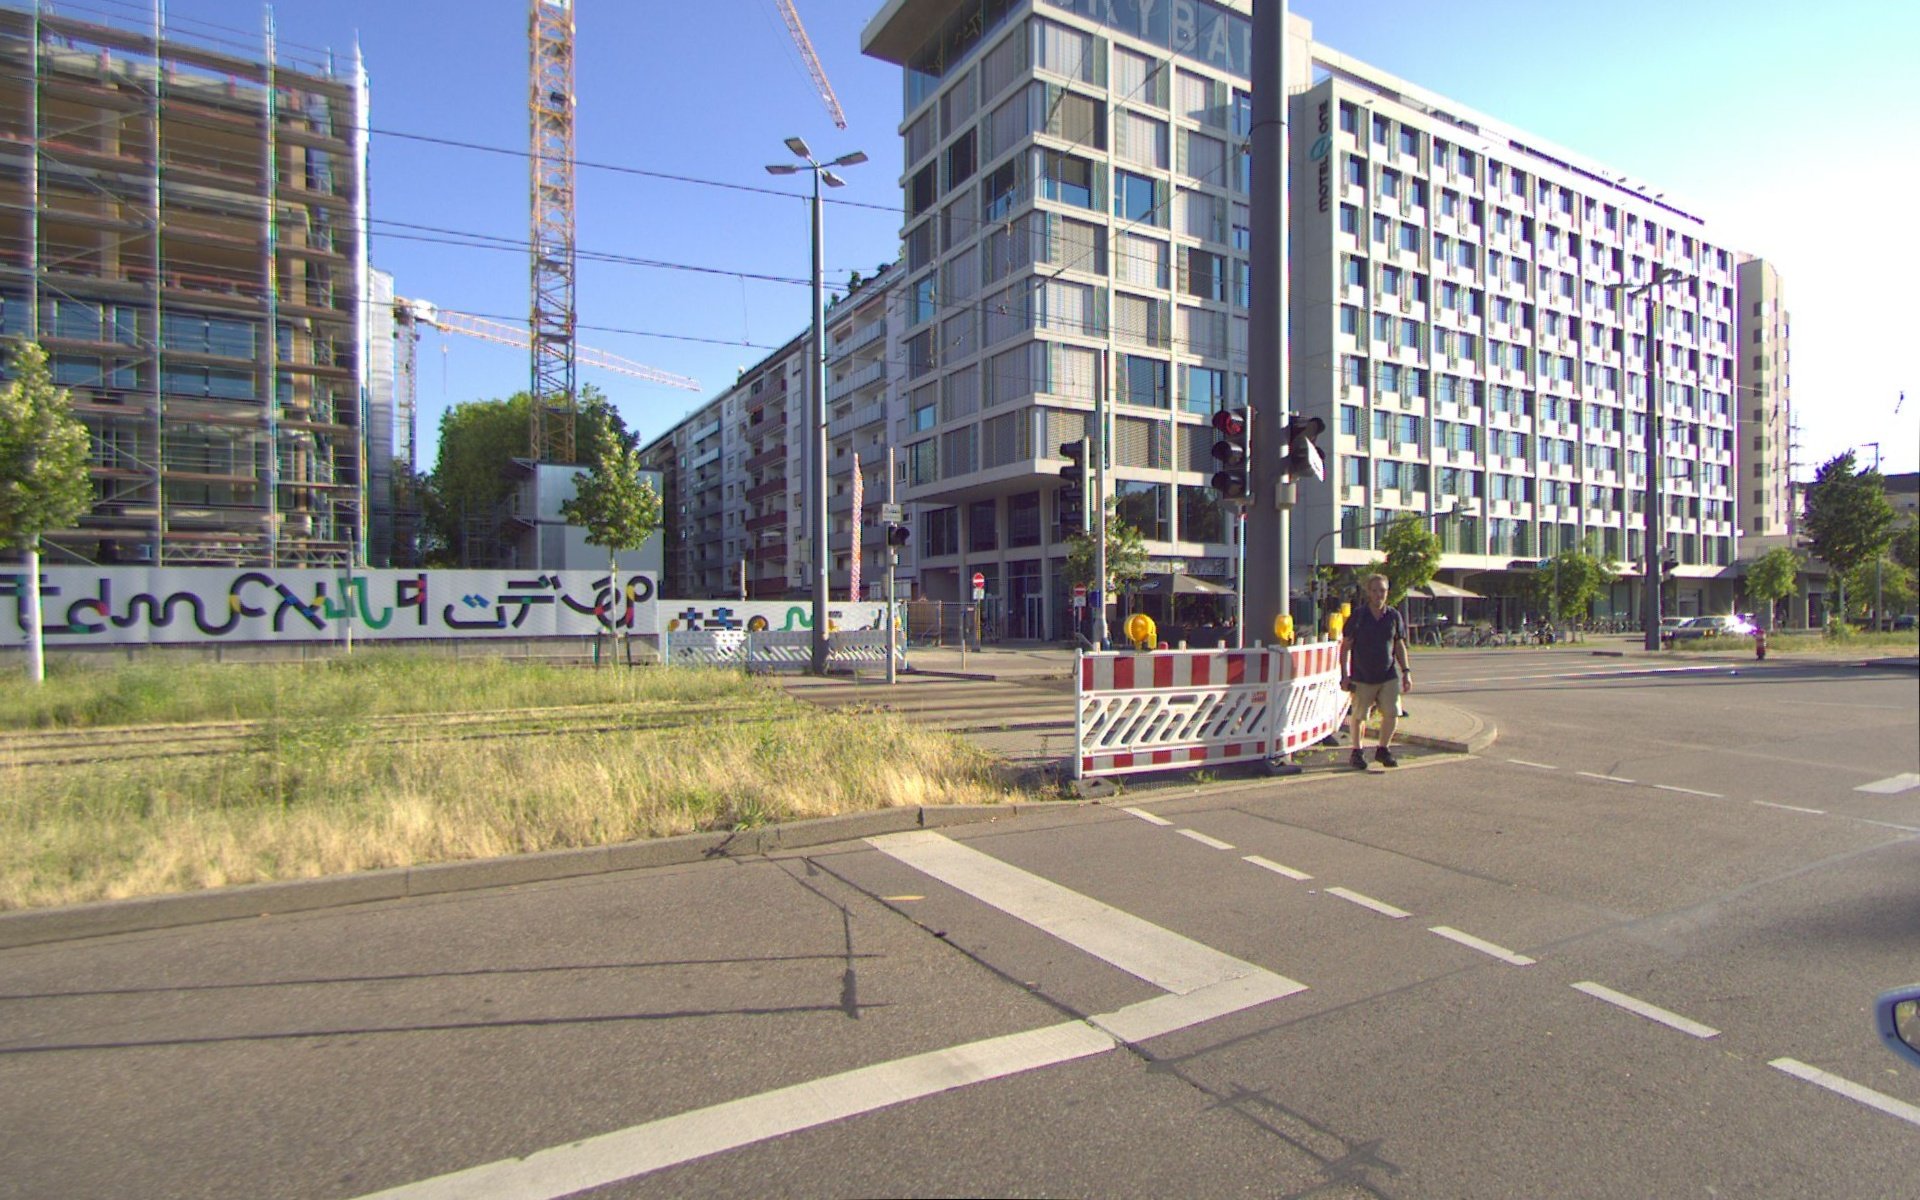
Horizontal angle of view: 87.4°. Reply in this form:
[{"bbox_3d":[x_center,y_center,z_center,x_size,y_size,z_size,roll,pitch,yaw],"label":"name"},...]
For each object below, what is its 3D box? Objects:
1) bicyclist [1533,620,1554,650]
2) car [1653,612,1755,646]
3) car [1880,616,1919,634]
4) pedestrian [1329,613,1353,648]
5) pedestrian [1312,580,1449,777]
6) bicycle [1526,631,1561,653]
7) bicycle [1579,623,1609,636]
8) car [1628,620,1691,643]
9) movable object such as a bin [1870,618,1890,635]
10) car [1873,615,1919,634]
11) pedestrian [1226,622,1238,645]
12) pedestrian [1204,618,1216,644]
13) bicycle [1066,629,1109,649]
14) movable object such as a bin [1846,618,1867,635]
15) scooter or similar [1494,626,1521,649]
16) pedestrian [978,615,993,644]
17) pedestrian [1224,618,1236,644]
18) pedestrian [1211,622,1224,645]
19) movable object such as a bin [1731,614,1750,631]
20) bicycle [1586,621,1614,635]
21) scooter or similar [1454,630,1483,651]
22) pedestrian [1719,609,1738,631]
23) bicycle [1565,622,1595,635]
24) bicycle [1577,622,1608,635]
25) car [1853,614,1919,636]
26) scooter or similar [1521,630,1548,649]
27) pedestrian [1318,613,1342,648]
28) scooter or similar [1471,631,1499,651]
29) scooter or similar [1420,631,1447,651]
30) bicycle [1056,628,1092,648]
[{"bbox_3d":[29.839,1.777,51.364,0.841,1.484,0.622,0,-1,-30],"label":"bicyclist"},{"bbox_3d":[31.866,1.220,43.011,4.796,1.361,1.881,0,-1,-32],"label":"car"},{"bbox_3d":[82.742,2.198,87.167,3.919,1.472,1.788,1,0,11],"label":"car"},{"bbox_3d":[19.723,1.572,52.025,0.792,1.744,0.868,0,-1,-21],"label":"pedestrian"},{"bbox_3d":[3.761,0.676,9.050,0.752,1.671,0.925,0,-1,-11],"label":"pedestrian"},{"bbox_3d":[29.820,2.131,51.360,2.053,1.081,0.622,0,-1,-31],"label":"bicycle"},{"bbox_3d":[45.605,2.145,72.275,0.507,0.917,1.791,0,-1,-36],"label":"bicycle"},{"bbox_3d":[43.640,1.934,62.647,3.954,1.346,1.748,0,0,-31],"label":"car"},{"bbox_3d":[73.456,2.122,80.197,0.924,1.297,0.858,0,-1,-16],"label":"movable object such as a bin"},{"bbox_3d":[80.427,2.112,85.535,3.554,1.543,1.621,1,1,19],"label":"car"},{"bbox_3d":[14.702,1.810,54.292,0.491,1.238,0.429,0,-1,-30],"label":"pedestrian"},{"bbox_3d":[11.934,1.465,47.944,0.428,1.210,0.361,0,-1,-34],"label":"pedestrian"},{"bbox_3d":[6.223,1.899,49.083,2.191,0.948,0.615,0,-1,-32],"label":"bicycle"},{"bbox_3d":[72.495,2.109,81.228,0.924,1.376,0.858,0,-1,-16],"label":"movable object such as a bin"},{"bbox_3d":[29.176,1.992,53.565,0.401,1.187,1.238,0,-1,-29],"label":"scooter or similar"},{"bbox_3d":[1.353,1.583,54.064,0.570,1.518,0.583,0,-1,-32],"label":"pedestrian"},{"bbox_3d":[12.884,1.474,48.016,0.428,1.210,0.361,0,-1,-34],"label":"pedestrian"},{"bbox_3d":[13.796,1.803,53.797,0.491,1.238,0.429,0,-1,-30],"label":"pedestrian"},{"bbox_3d":[65.536,1.885,84.315,1.386,1.459,0.796,0,-1,-31],"label":"movable object such as a bin"},{"bbox_3d":[46.562,2.020,73.094,0.477,0.979,1.742,0,0,-31],"label":"bicycle"},{"bbox_3d":[26.316,2.089,51.984,0.504,1.033,1.238,0,-1,-29],"label":"scooter or similar"},{"bbox_3d":[60.182,1.559,78.658,0.958,1.675,0.840,0,-1,-29],"label":"pedestrian"},{"bbox_3d":[44.182,2.035,71.619,0.507,0.917,1.791,0,-1,-36],"label":"bicycle"},{"bbox_3d":[45.364,2.026,72.077,0.507,0.917,1.791,0,-1,-36],"label":"bicycle"},{"bbox_3d":[77.413,2.066,83.721,4.015,1.622,1.750,2,2,19],"label":"car"},{"bbox_3d":[31.466,2.176,55.063,0.430,1.033,1.238,0,-1,-29],"label":"scooter or similar"},{"bbox_3d":[19.014,1.567,51.683,0.792,1.744,0.868,0,-1,-21],"label":"pedestrian"},{"bbox_3d":[27.592,2.148,52.791,0.430,1.033,1.238,0,-1,-29],"label":"scooter or similar"},{"bbox_3d":[24.062,2.087,51.096,0.401,1.019,1.238,0,-1,-29],"label":"scooter or similar"},{"bbox_3d":[5.649,1.891,49.836,1.879,0.948,0.532,0,-1,-32],"label":"bicycle"}]
